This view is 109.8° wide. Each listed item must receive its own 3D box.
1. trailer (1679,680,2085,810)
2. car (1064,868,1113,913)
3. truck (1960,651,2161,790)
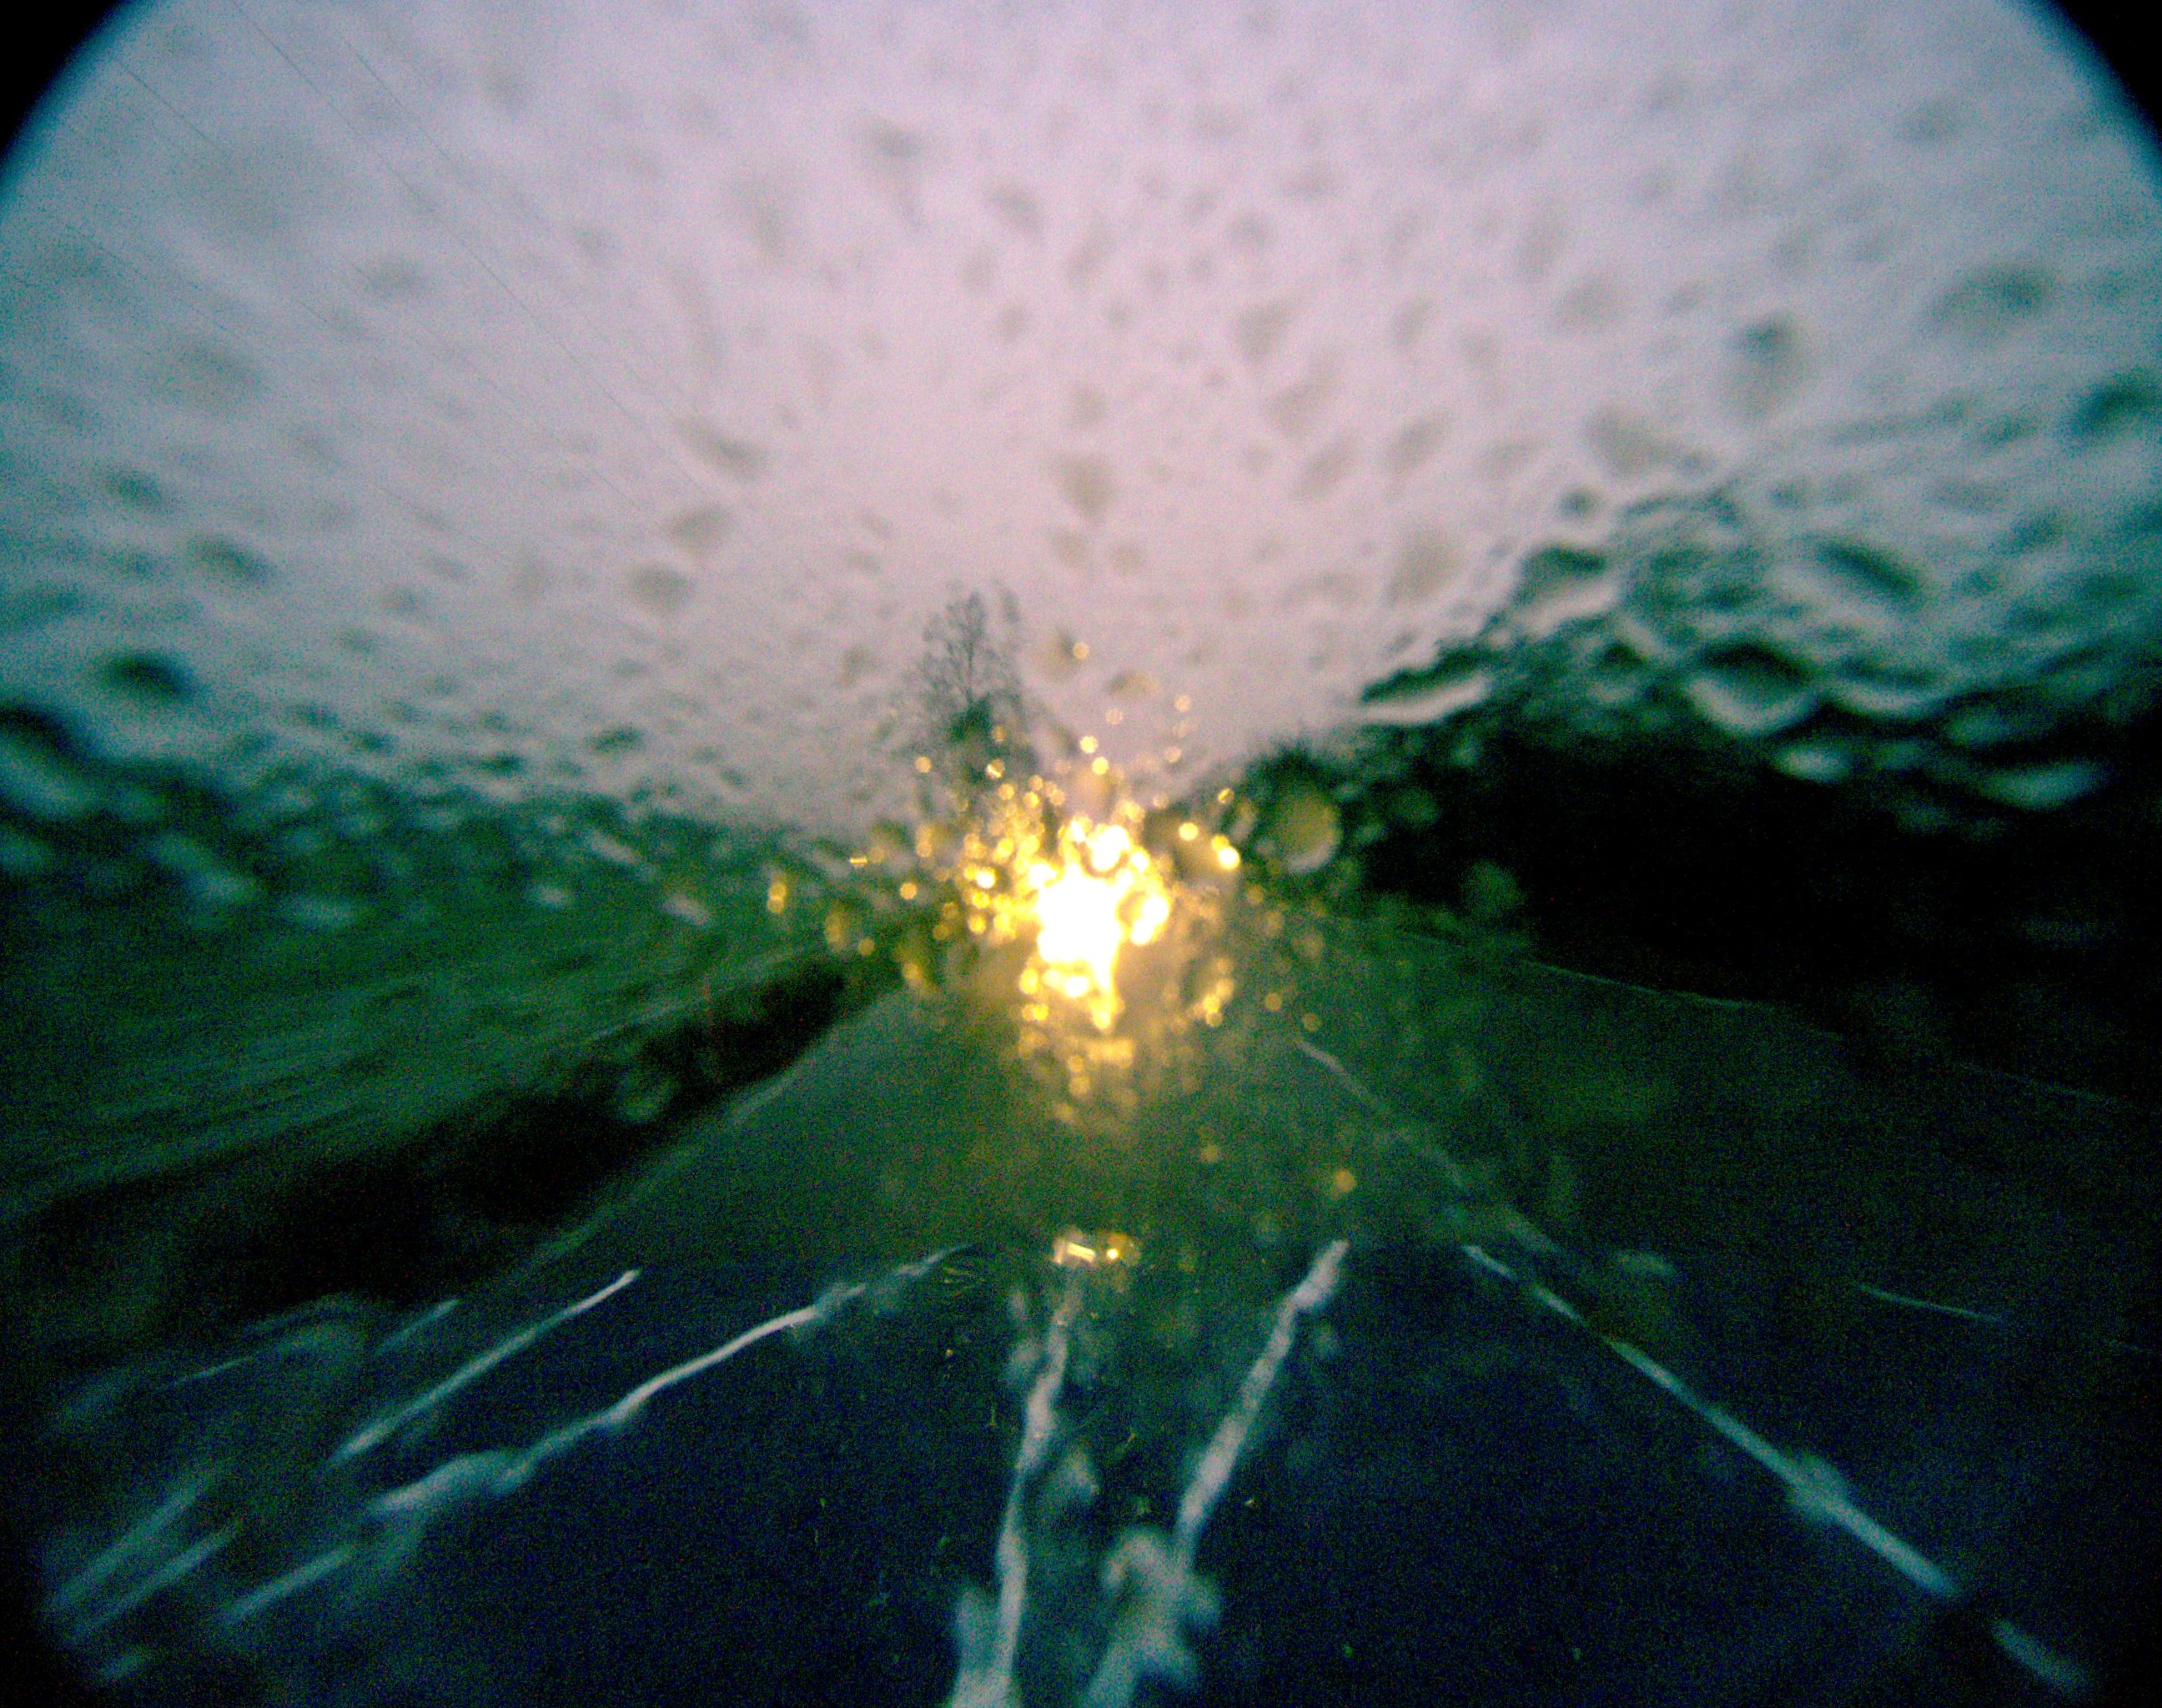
[{"bbox_3d":[26.324,-3.303,26.367,2.442,2.874,11.085,-1,0,0],"label":"trailer"},{"bbox_3d":[0.351,1.541,33.183,1.910,1.653,4.000,-3,0,1],"label":"car"},{"bbox_3d":[26.267,-3.297,18.861,2.456,2.870,5.583,-1,0,0],"label":"truck"}]
